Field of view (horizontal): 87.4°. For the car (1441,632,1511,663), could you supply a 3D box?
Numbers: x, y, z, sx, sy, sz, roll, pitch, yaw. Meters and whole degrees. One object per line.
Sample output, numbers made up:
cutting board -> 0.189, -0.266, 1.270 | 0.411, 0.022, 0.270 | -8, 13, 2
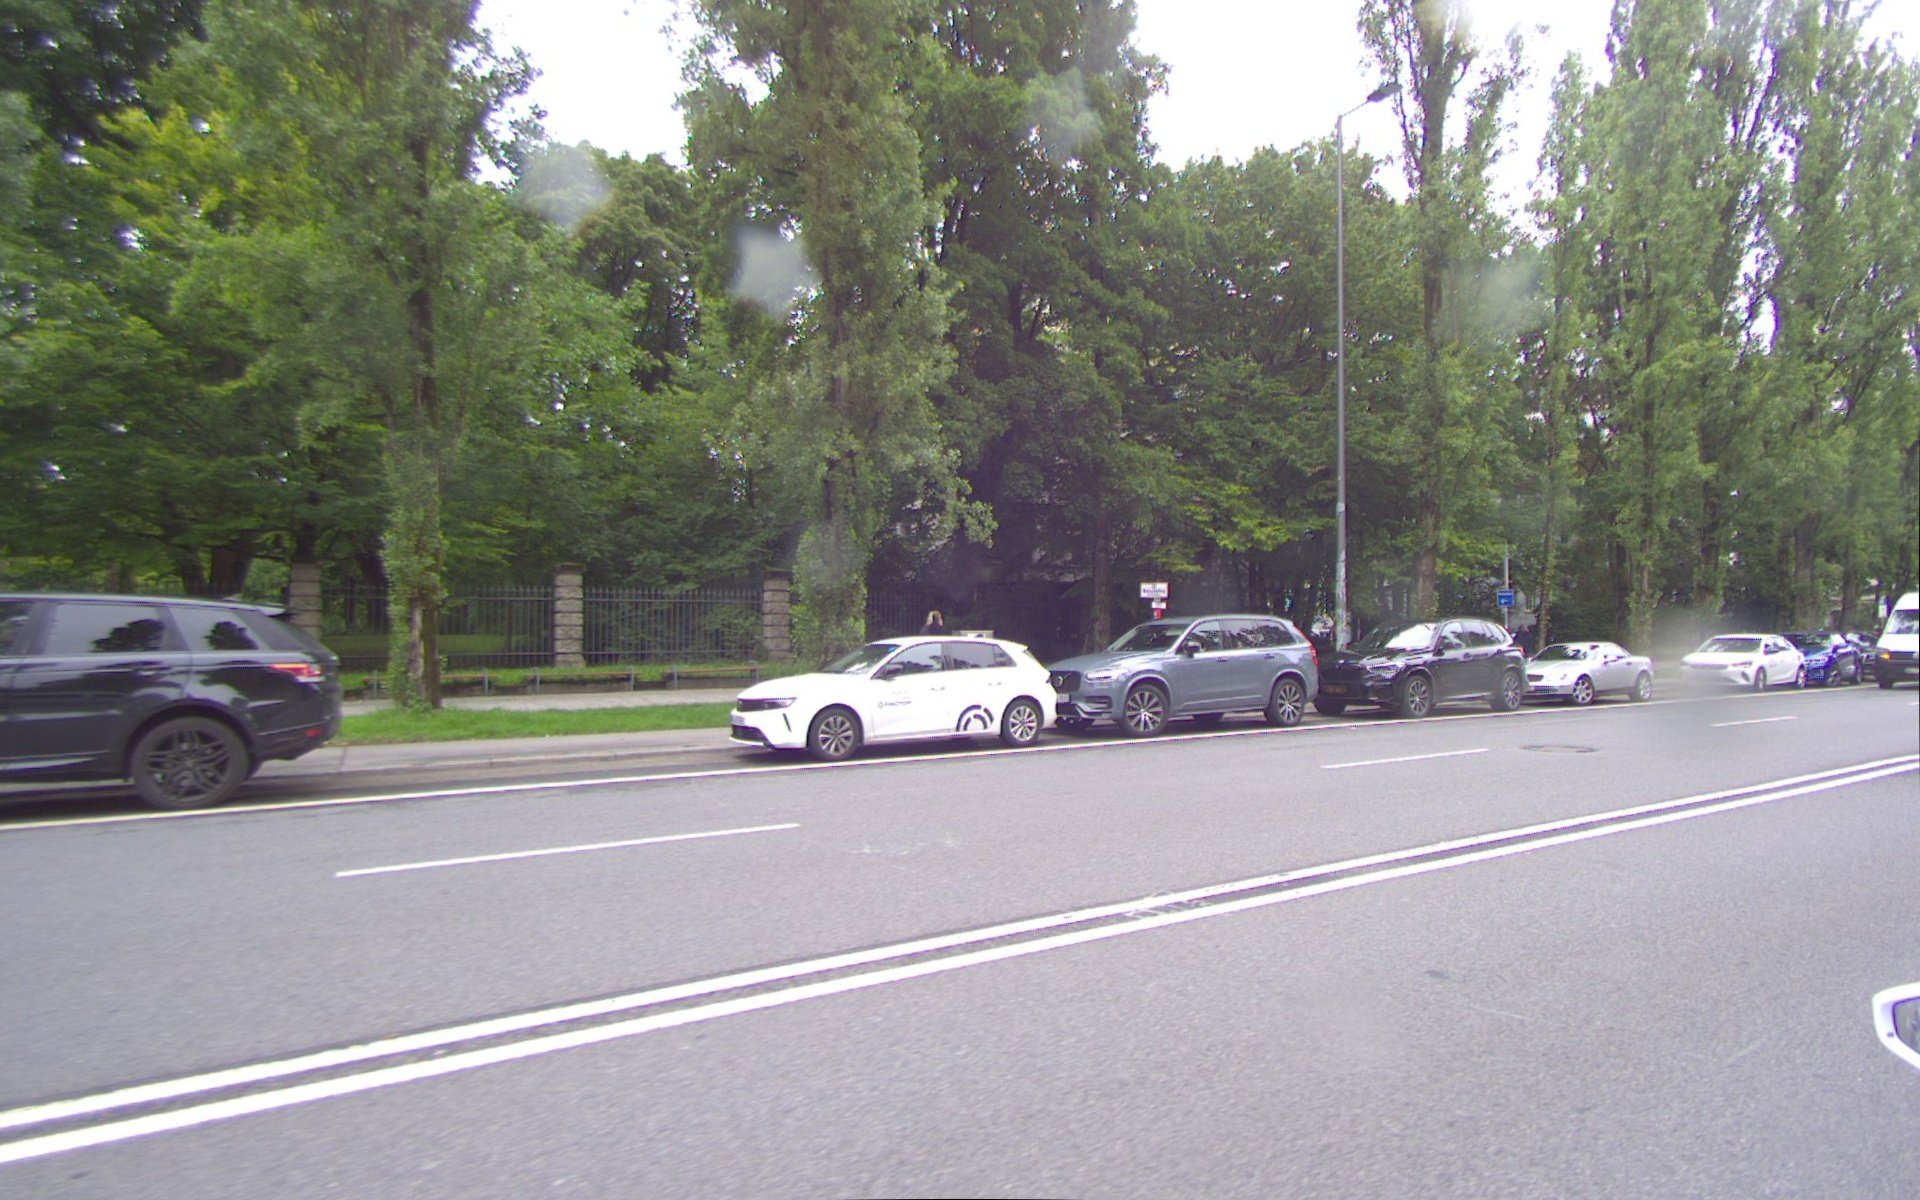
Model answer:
car -> 31.319, 2.845, 60.974 | 3.953, 1.795, 1.984 | 1, -1, -30

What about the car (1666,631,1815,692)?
car -> 20.500, 1.590, 26.357 | 4.187, 1.471, 1.761 | 1, -4, -33

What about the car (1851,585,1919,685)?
car -> 26.829, 0.936, 27.268 | 6.685, 2.515, 2.215 | 1, -3, -33

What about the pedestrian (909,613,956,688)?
pedestrian -> -0.663, 1.203, 24.122 | 0.946, 1.764, 0.663 | 1, -1, -30

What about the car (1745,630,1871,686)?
car -> 23.977, 1.623, 28.393 | 3.547, 1.470, 1.700 | 1, -4, -33

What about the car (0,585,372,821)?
car -> -7.851, 0.848, 8.636 | 4.741, 1.809, 2.038 | 1, -3, -29

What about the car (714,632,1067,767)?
car -> -0.832, 1.175, 12.870 | 4.224, 1.478, 1.696 | 1, -3, -32

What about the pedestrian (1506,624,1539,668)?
pedestrian -> 21.174, 1.726, 37.810 | 0.871, 1.620, 0.733 | 1, 0, -30

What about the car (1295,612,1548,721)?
car -> 8.632, 1.192, 18.647 | 4.842, 1.790, 1.931 | 1, -4, -33

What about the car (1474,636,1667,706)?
car -> 13.171, 1.492, 21.618 | 4.186, 1.351, 1.817 | 1, -4, -32

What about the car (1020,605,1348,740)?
car -> 3.582, 1.080, 15.705 | 5.121, 1.813, 1.900 | 1, -4, -32
